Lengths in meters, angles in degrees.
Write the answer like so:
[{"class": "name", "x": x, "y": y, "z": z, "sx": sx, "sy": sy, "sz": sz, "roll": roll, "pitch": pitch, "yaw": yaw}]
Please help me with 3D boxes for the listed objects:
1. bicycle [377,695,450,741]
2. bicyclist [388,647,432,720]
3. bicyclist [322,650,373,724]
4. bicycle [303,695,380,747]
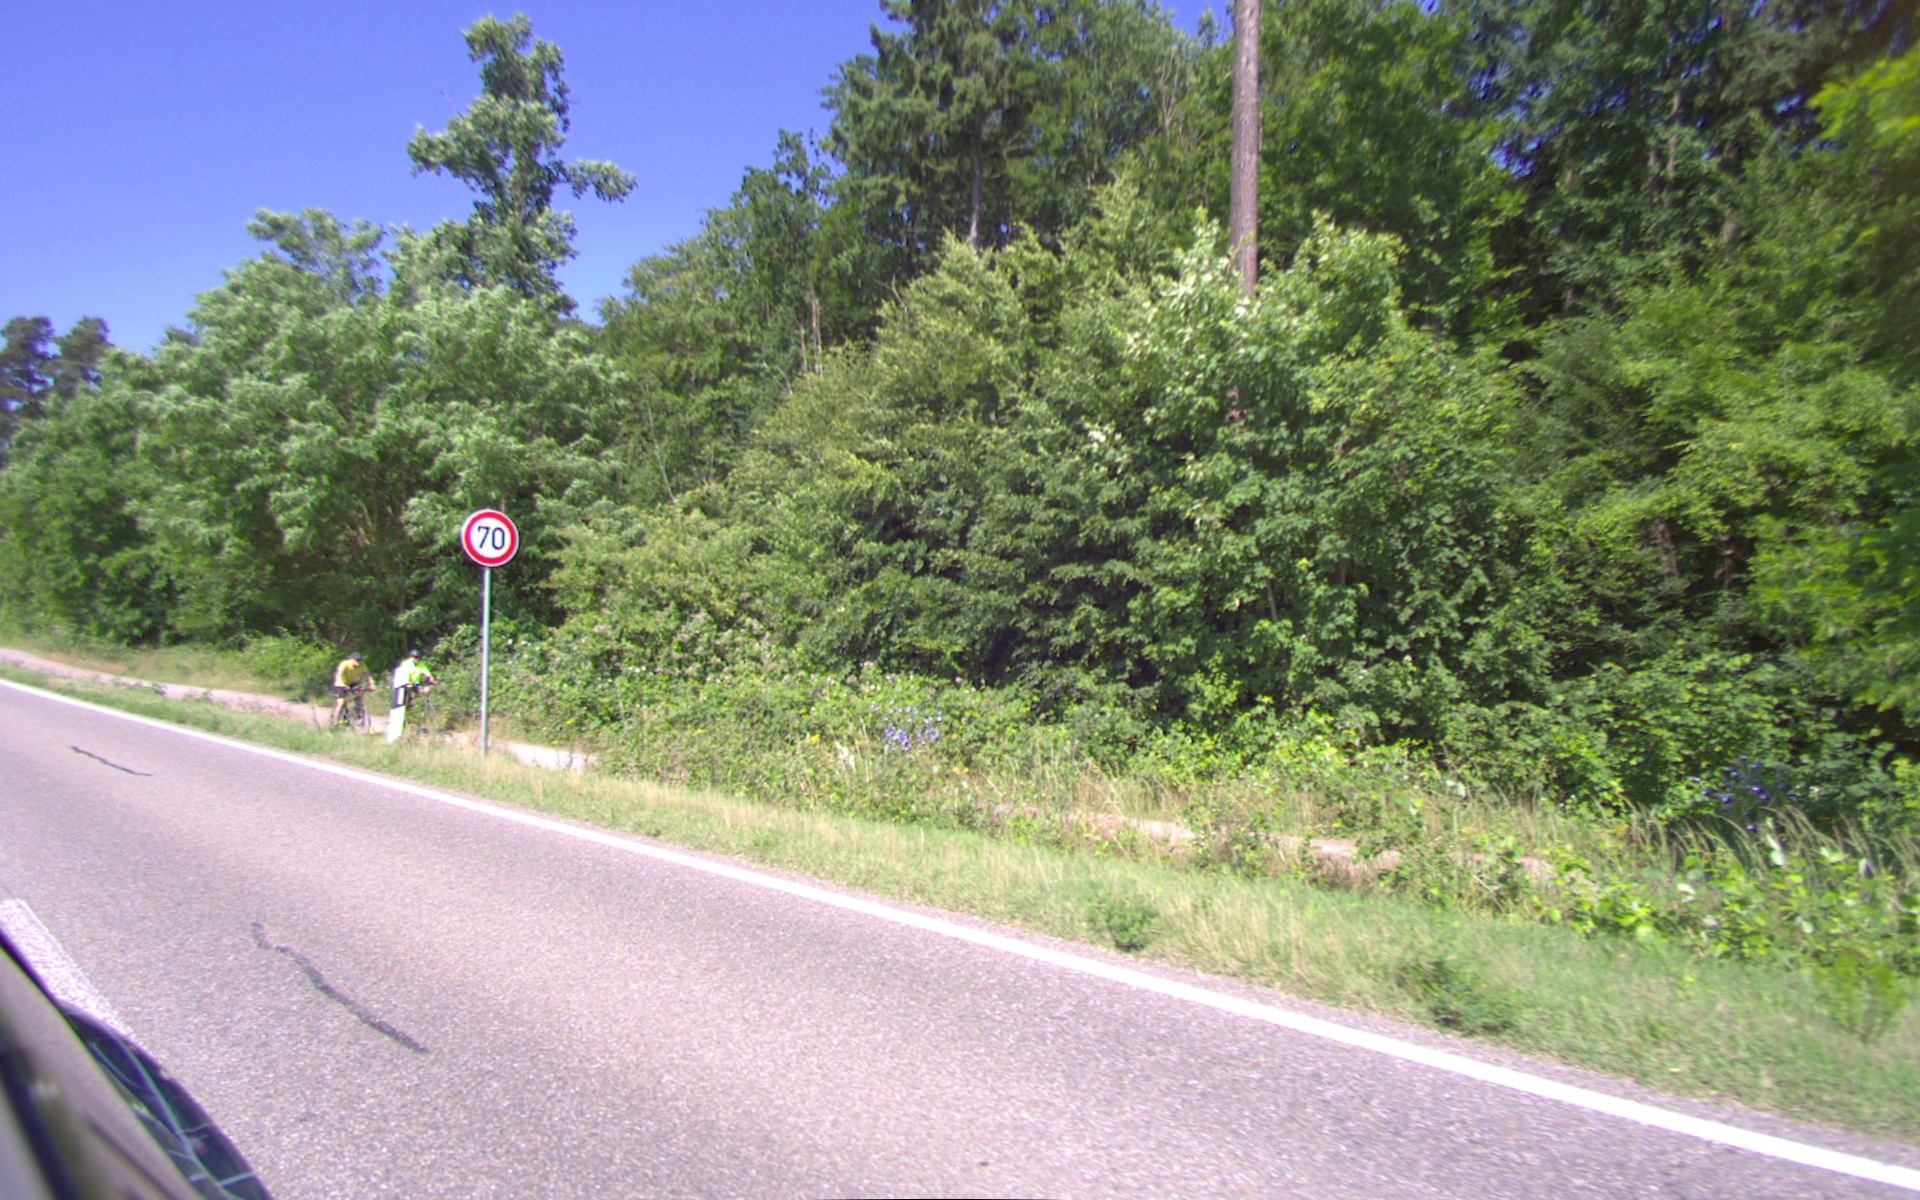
[{"class": "bicycle", "x": -11.454, "y": 2.450, "z": 21.173, "sx": 2.135, "sy": 0.686, "sz": 0.613, "roll": 2, "pitch": 2, "yaw": 41}, {"class": "bicyclist", "x": -11.511, "y": 1.737, "z": 21.198, "sx": 0.702, "sy": 1.426, "sz": 0.599, "roll": 1, "pitch": 2, "yaw": 40}, {"class": "bicyclist", "x": -12.154, "y": 1.718, "z": 20.078, "sx": 0.702, "sy": 1.426, "sz": 0.599, "roll": -1, "pitch": -5, "yaw": 40}, {"class": "bicycle", "x": -12.274, "y": 2.370, "z": 20.048, "sx": 2.136, "sy": 0.794, "sz": 0.633, "roll": 2, "pitch": -3, "yaw": 41}]
